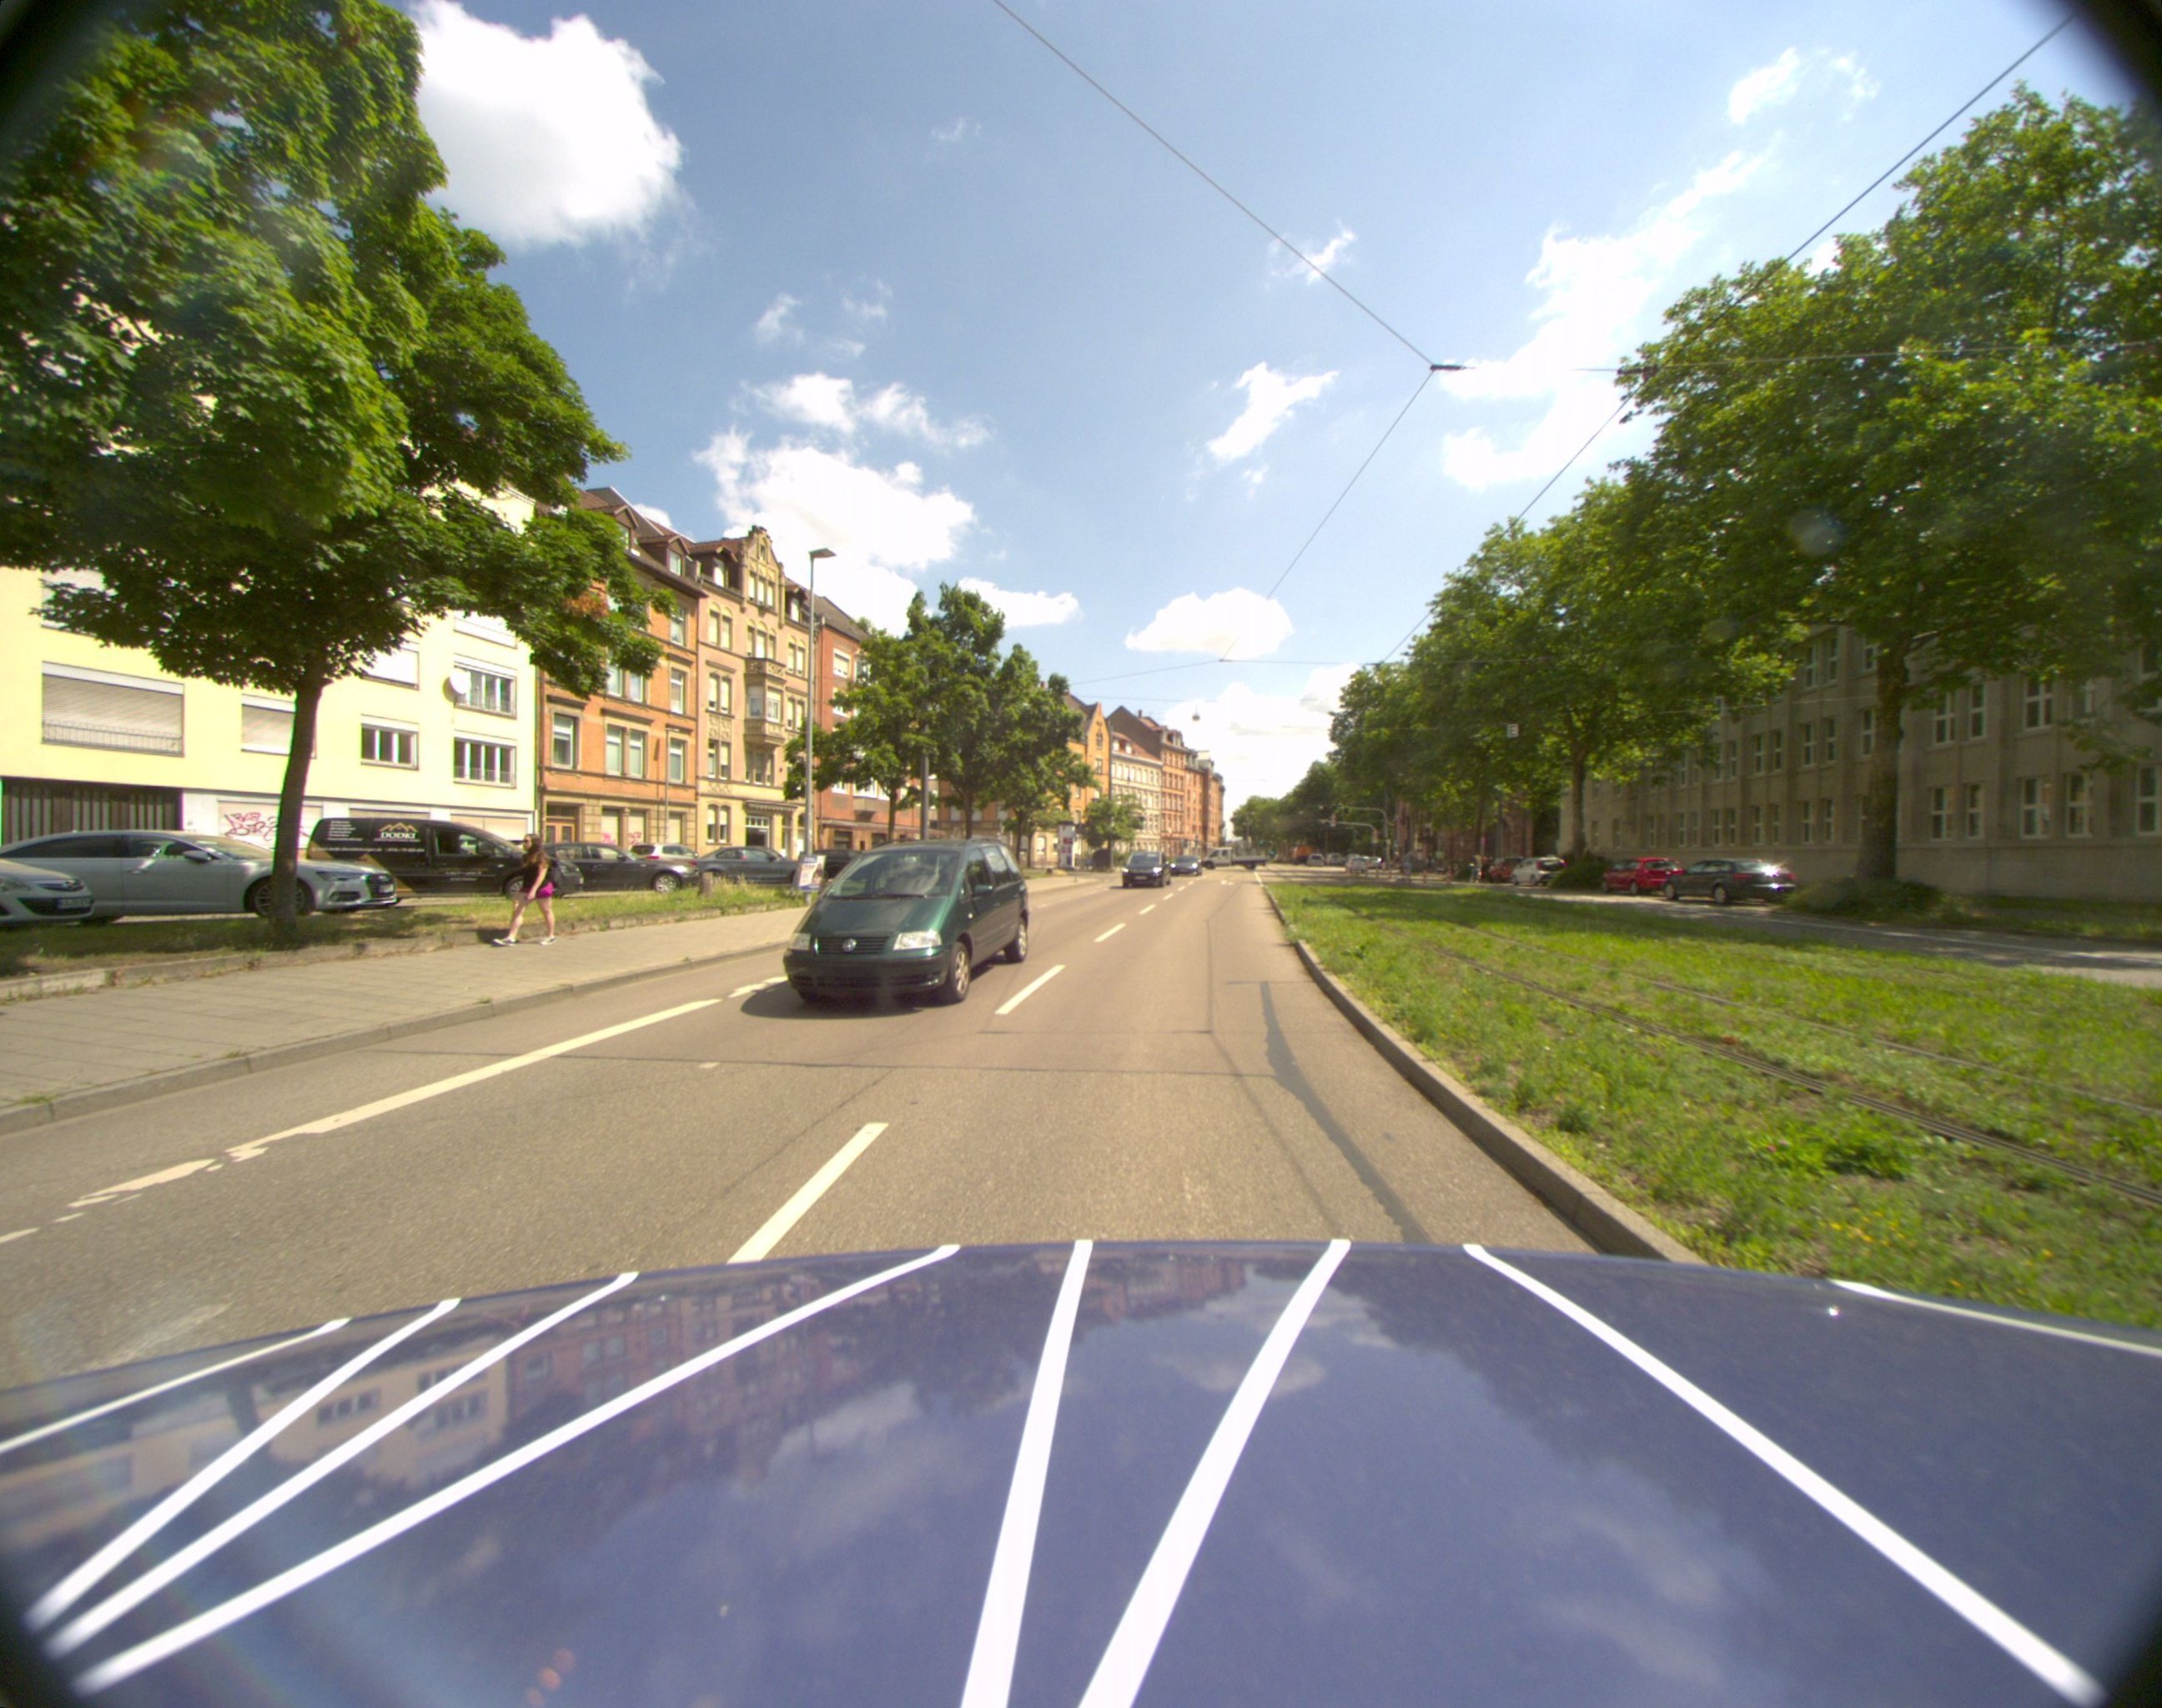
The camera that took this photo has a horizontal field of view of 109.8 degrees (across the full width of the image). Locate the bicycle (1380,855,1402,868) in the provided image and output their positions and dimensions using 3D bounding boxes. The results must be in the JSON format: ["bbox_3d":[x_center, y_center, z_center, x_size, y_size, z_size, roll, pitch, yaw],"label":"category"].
[{"bbox_3d":[32.700,0.821,80.118,2.085,1.282,0.672,-2,1,10],"label":"bicycle"}]

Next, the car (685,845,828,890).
[{"bbox_3d":[-10.907,0.418,25.678,4.274,1.372,1.848,-1,1,-24],"label":"car"}]

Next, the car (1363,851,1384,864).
[{"bbox_3d":[34.844,0.381,90.584,1.759,1.488,4.003,0,1,13],"label":"car"}]

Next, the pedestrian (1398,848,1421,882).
[{"bbox_3d":[16.420,0.533,38.028,0.784,1.694,0.701,-1,1,-20],"label":"pedestrian"}]

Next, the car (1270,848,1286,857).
[{"bbox_3d":[46.748,-0.413,180.340,1.764,2.172,3.993,-1,1,-17],"label":"car"}]

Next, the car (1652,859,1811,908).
[{"bbox_3d":[20.410,0.882,24.120,1.929,1.361,4.321,-1,0,10],"label":"car"}]

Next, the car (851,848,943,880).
[{"bbox_3d":[-8.691,0.446,35.795,4.004,1.372,1.958,-1,1,-21],"label":"car"}]

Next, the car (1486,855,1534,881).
[{"bbox_3d":[24.639,0.784,43.738,1.489,1.445,2.885,-1,0,10],"label":"car"}]

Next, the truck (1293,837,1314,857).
[{"bbox_3d":[36.142,-1.103,123.653,2.643,3.088,7.228,2,1,12],"label":"truck"}]

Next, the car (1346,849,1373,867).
[{"bbox_3d":[25.647,0.377,70.046,1.763,1.471,3.791,3,0,11],"label":"car"}]

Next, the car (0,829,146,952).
[{"bbox_3d":[-14.366,0.441,8.761,4.090,1.397,1.848,-1,1,-23],"label":"car"}]

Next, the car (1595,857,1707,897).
[{"bbox_3d":[21.744,0.830,29.220,1.929,1.412,4.054,-1,0,12],"label":"car"}]

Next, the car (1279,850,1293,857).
[{"bbox_3d":[44.704,-0.179,165.881,1.762,1.488,3.998,-1,1,-4],"label":"car"}]

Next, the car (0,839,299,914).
[{"bbox_3d":[-21.027,0.426,17.215,1.835,1.483,4.230,0,1,12],"label":"car"}]

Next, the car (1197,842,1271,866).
[{"bbox_3d":[15.333,-0.020,76.304,6.962,2.360,2.267,1,1,24],"label":"car"}]

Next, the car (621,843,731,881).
[{"bbox_3d":[-17.948,0.302,33.962,1.835,1.606,4.499,0,1,12],"label":"car"}]

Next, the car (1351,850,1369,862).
[{"bbox_3d":[36.573,0.251,99.602,1.759,1.488,4.003,0,1,13],"label":"car"}]

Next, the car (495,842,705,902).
[{"bbox_3d":[-12.083,0.401,19.461,4.274,1.372,1.848,-1,1,-24],"label":"car"}]

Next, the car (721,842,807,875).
[{"bbox_3d":[-16.789,0.201,40.480,1.834,1.606,4.500,0,1,15],"label":"car"}]

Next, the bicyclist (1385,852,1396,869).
[{"bbox_3d":[32.634,0.695,80.130,0.883,1.774,0.663,-2,1,12],"label":"bicyclist"}]

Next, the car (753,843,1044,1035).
[{"bbox_3d":[-1.852,0.760,9.600,1.822,1.746,5.034,0,1,8],"label":"car"}]

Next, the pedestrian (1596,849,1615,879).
[{"bbox_3d":[28.114,0.533,40.749,0.554,1.582,0.796,0,1,11],"label":"pedestrian"}]

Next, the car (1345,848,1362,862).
[{"bbox_3d":[37.881,0.161,105.797,1.759,1.825,4.003,0,1,13],"label":"car"}]

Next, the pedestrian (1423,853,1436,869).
[{"bbox_3d":[28.097,0.549,61.233,0.756,1.205,0.914,-5,0,14],"label":"pedestrian"}]

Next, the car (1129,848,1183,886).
[{"bbox_3d":[3.450,0.534,34.284,1.873,1.610,4.193,0,1,13],"label":"car"}]

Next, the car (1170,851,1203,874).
[{"bbox_3d":[7.172,0.529,51.401,1.913,1.386,4.316,0,1,11],"label":"car"}]

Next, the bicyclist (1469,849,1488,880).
[{"bbox_3d":[22.586,0.590,43.165,0.762,1.694,0.784,-1,1,9],"label":"bicyclist"}]

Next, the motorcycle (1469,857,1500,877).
[{"bbox_3d":[25.876,0.836,48.703,2.110,1.168,0.544,-3,-2,-26],"label":"motorcycle"}]

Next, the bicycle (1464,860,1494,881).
[{"bbox_3d":[22.598,0.929,43.176,0.792,1.103,2.278,-1,1,9],"label":"bicycle"}]

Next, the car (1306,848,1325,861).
[{"bbox_3d":[32.270,0.037,104.825,1.923,1.736,4.541,3,1,11],"label":"car"}]

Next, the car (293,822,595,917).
[{"bbox_3d":[-12.742,0.248,15.618,4.371,1.731,1.848,-1,1,-24],"label":"car"}]

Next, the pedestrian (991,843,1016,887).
[{"bbox_3d":[-3.127,0.437,30.685,0.701,1.695,1.045,3,2,11],"label":"pedestrian"}]

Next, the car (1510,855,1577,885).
[{"bbox_3d":[23.682,0.792,39.045,1.749,1.445,3.494,-1,0,10],"label":"car"}]

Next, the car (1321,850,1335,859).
[{"bbox_3d":[42.262,0.139,130.065,1.759,1.488,4.003,0,1,13],"label":"car"}]

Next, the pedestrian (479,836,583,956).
[{"bbox_3d":[-7.725,0.563,10.701,0.701,1.583,0.906,3,2,11],"label":"pedestrian"}]

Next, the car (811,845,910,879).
[{"bbox_3d":[-9.514,0.314,32.920,4.002,1.372,1.958,-1,1,-16],"label":"car"}]

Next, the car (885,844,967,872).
[{"bbox_3d":[-7.957,0.199,39.154,4.001,1.346,1.959,-1,1,-10],"label":"car"}]

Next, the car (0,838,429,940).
[{"bbox_3d":[-13.577,0.459,11.913,4.698,1.372,1.849,-1,1,-22],"label":"car"}]

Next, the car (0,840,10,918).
[{"bbox_3d":[-21.988,0.512,12.750,1.835,1.483,4.230,0,1,12],"label":"car"}]

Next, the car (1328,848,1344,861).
[{"bbox_3d":[41.857,0.024,124.741,1.991,1.992,4.088,-1,1,9],"label":"car"}]
